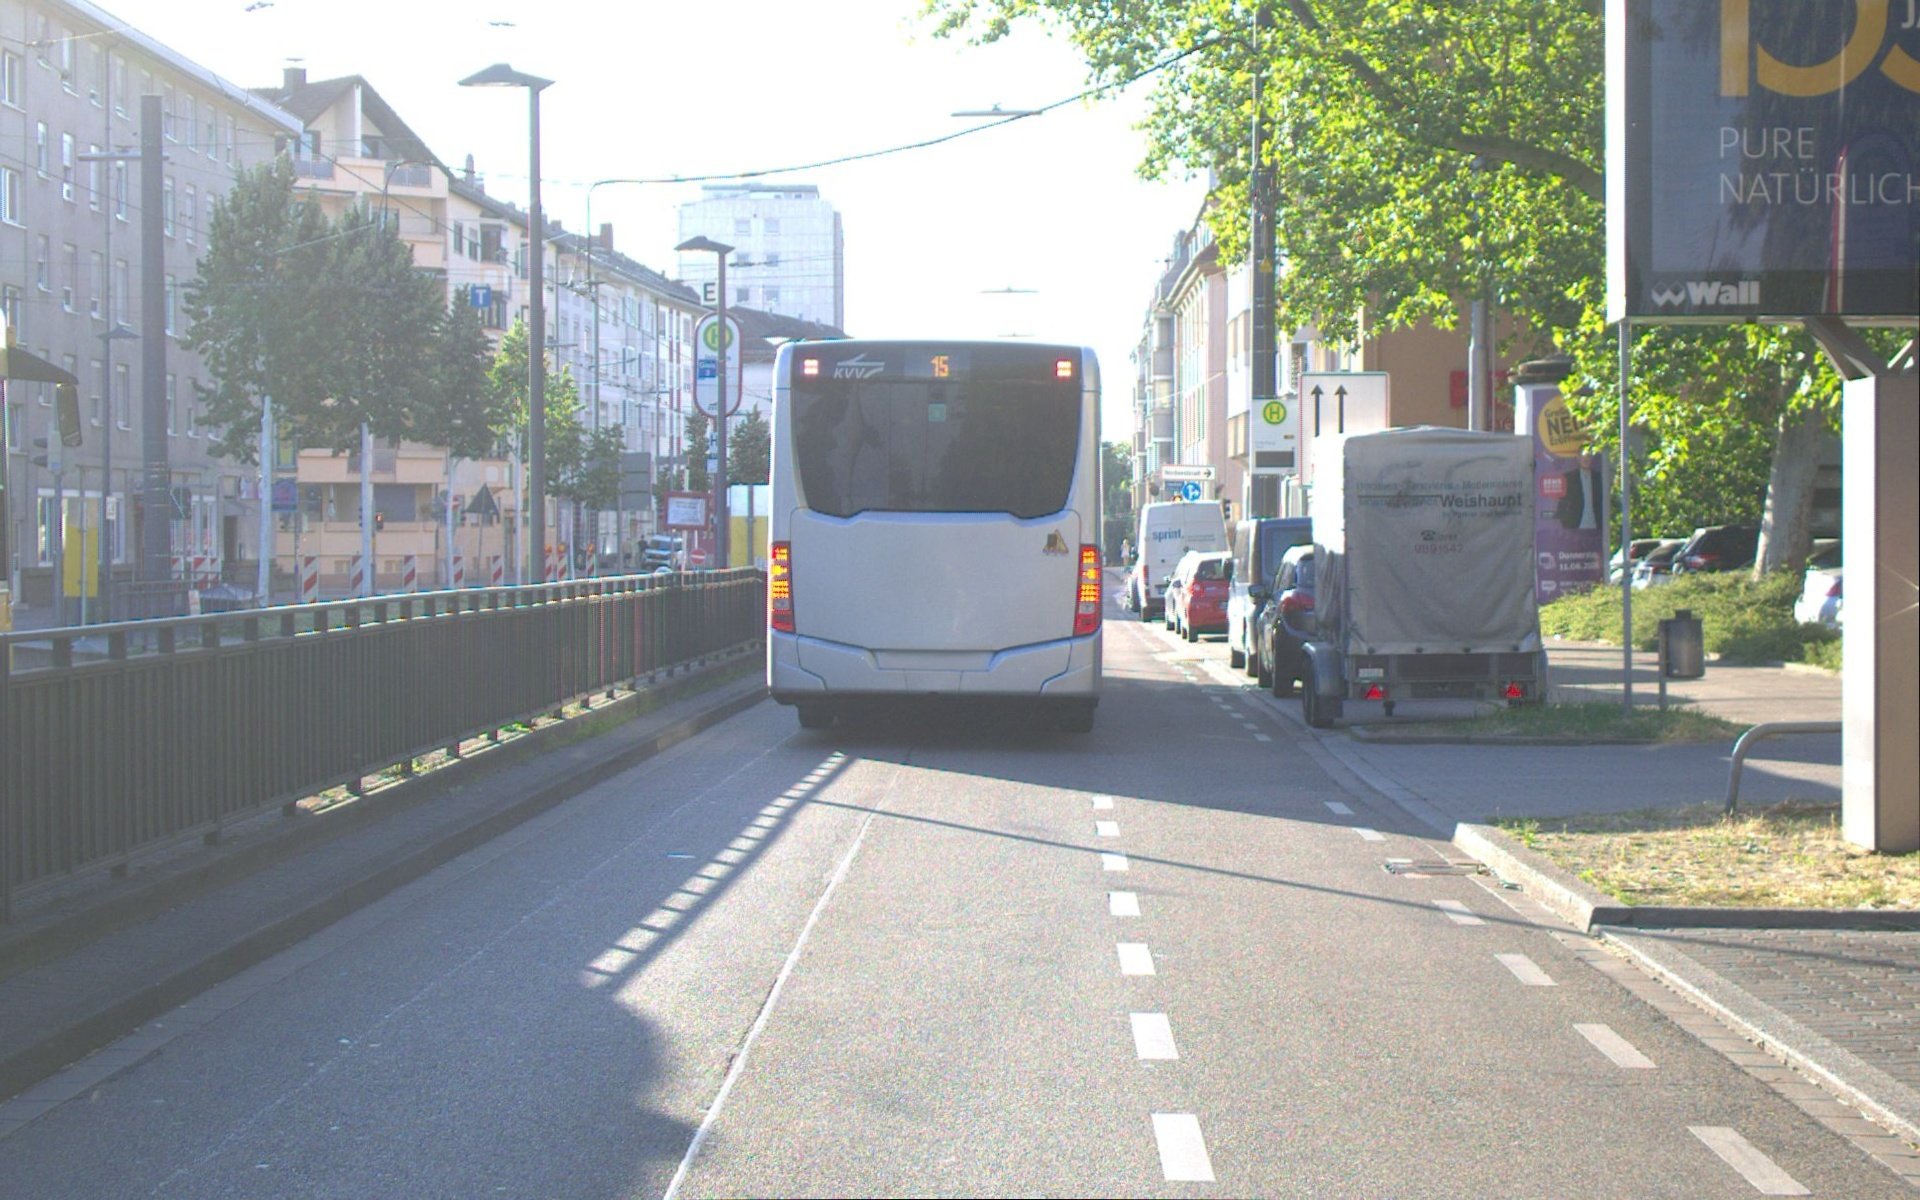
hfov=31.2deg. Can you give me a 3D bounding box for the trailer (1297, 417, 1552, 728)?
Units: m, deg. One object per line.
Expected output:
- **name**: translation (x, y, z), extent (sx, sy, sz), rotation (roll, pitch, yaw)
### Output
- **trailer**: translation (4.002, -0.250, 30.096), extent (1.832, 2.549, 3.318), rotation (-1, 1, 1)

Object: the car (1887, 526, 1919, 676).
- **car**: translation (12.415, -0.005, 37.925), extent (3.920, 1.631, 1.706), rotation (0, 1, 2)

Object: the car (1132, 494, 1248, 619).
- **car**: translation (4.990, -0.941, 75.145), extent (2.282, 2.618, 5.309), rotation (0, 1, 1)

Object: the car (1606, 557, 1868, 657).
- **car**: translation (12.722, 0.102, 56.453), extent (3.920, 1.583, 1.706), rotation (0, 1, 2)

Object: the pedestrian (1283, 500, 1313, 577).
- **pedestrian**: translation (8.678, -1.581, 88.402), extent (0.685, 1.940, 1.116), rotation (0, 1, 1)

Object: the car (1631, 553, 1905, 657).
- **car**: translation (12.660, 0.069, 54.020), extent (3.920, 1.583, 1.706), rotation (0, 1, 2)

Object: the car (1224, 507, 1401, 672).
- **car**: translation (4.373, -0.148, 43.240), extent (1.847, 1.950, 4.543), rotation (0, 1, 1)

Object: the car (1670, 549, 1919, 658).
- **car**: translation (12.808, 0.040, 51.674), extent (3.920, 1.583, 1.706), rotation (0, 1, 2)

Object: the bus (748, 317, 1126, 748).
- **bus**: translation (-0.018, -0.580, 30.673), extent (2.733, 3.128, 10.703), rotation (1, 1, 2)

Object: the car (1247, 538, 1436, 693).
- **car**: translation (4.076, 0.138, 37.225), extent (1.701, 1.583, 3.827), rotation (0, 1, 1)

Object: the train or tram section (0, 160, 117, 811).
- **train or tram section**: translation (-6.594, -0.539, 14.193), extent (2.640, 3.507, 13.334), rotation (0, 1, 1)

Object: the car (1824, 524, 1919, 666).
- **car**: translation (12.295, -0.077, 40.291), extent (3.920, 1.632, 1.706), rotation (0, 1, 2)

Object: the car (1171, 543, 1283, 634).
- **car**: translation (4.565, -0.217, 59.236), extent (1.671, 1.458, 3.933), rotation (-2, 1, 1)
